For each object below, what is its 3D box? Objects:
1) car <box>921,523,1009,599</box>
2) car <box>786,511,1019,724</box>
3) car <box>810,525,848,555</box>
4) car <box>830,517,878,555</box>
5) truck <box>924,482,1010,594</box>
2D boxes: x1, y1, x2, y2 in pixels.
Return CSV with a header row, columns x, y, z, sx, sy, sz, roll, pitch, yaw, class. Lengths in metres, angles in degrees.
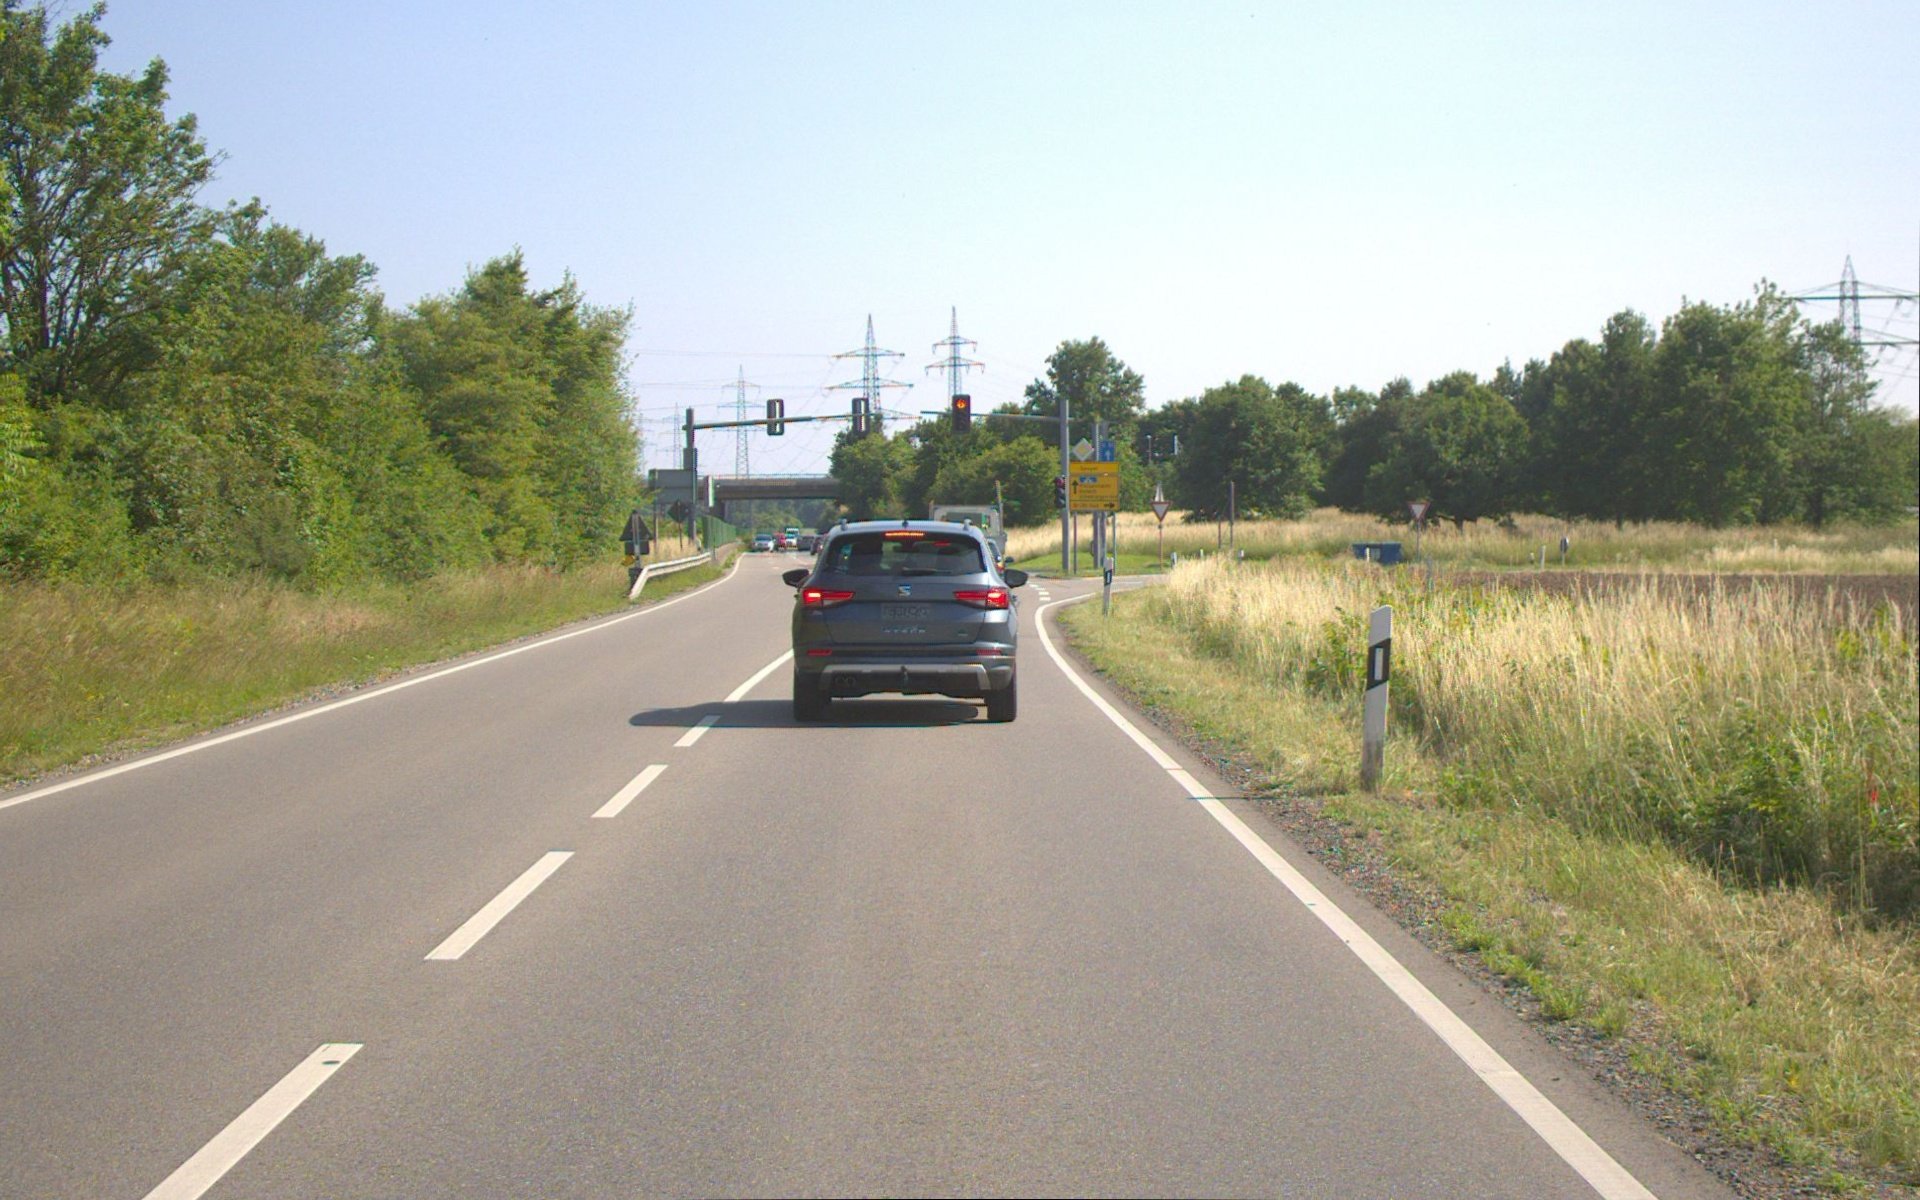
x,y,z,sx,sy,sz,roll,pitch,yaw,class
0.075,-0.840,72.491,1.785,1.538,4.000,0,2,-1,car
-0.462,0.086,28.419,1.785,1.623,4.000,0,2,-1,car
-6.212,-2.871,162.850,1.684,1.375,3.534,0,2,-4,car
-4.424,-2.685,142.725,1.816,1.535,4.001,-1,1,-4,car
0.224,-1.741,97.112,2.337,3.055,5.810,0,1,0,truck
